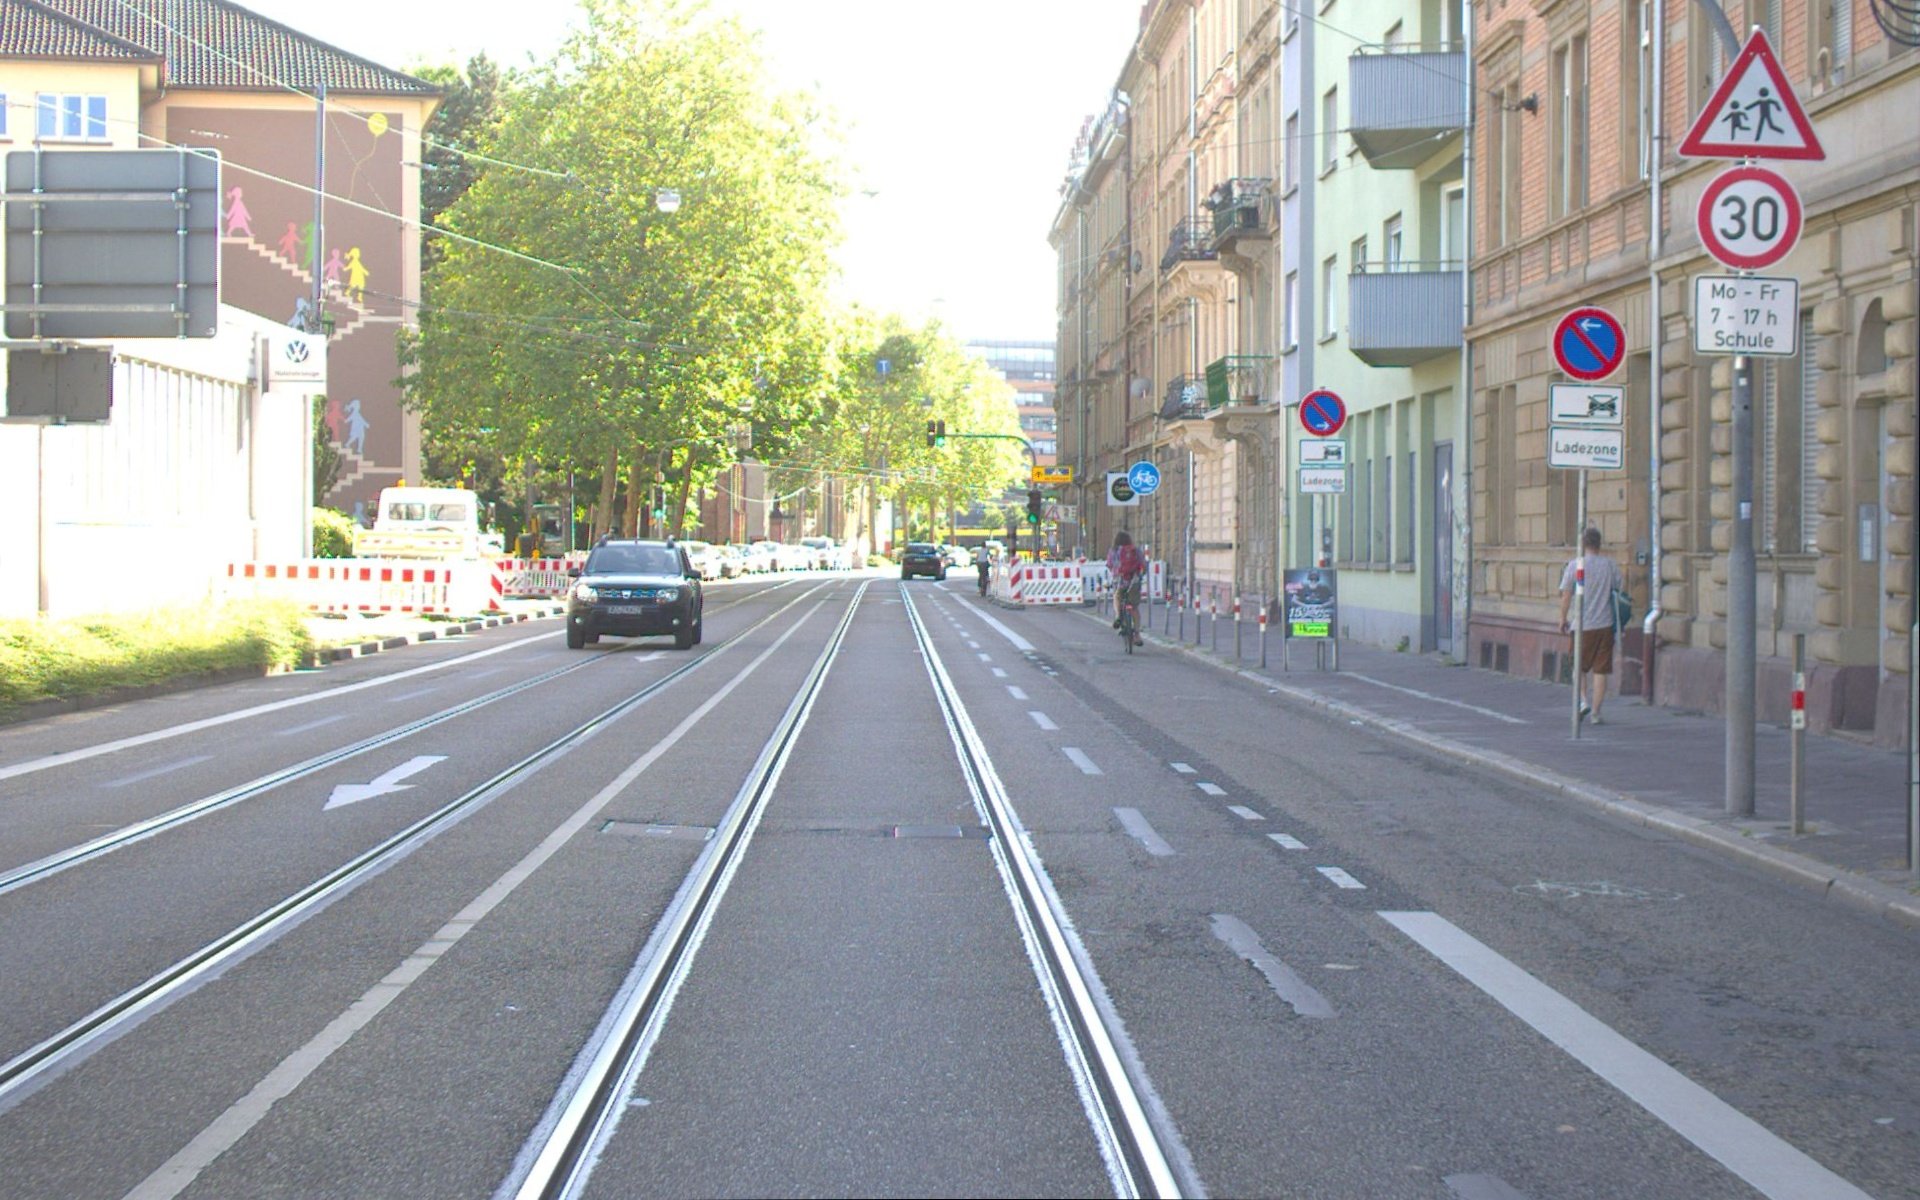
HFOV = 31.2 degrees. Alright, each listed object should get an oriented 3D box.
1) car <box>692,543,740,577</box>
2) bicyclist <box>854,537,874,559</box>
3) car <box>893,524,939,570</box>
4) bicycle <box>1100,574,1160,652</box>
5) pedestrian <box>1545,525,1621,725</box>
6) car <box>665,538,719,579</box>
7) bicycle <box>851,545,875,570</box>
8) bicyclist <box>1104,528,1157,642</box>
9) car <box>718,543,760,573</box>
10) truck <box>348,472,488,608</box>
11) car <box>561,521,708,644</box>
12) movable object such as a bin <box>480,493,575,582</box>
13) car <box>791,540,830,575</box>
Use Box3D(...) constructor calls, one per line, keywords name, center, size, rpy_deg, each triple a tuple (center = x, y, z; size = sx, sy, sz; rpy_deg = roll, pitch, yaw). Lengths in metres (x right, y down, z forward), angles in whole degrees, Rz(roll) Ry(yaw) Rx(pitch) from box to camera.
Box3D(name="car", center=(-11.168, -1.823, 157.724), size=(1.748, 1.504, 4.043), rpy_deg=(2, 0, 2))
Box3D(name="bicyclist", center=(-6.466, -3.478, 231.602), size=(1.078, 1.423, 1.146), rpy_deg=(2, 0, 7))
Box3D(name="car", center=(-2.031, -2.415, 158.467), size=(1.993, 2.007, 4.000), rpy_deg=(2, 0, -1))
Box3D(name="bicycle", center=(2.571, 0.183, 52.261), size=(0.681, 1.110, 2.707), rpy_deg=(2, 1, -2))
Box3D(name="pedestrian", center=(5.362, 0.209, 29.583), size=(0.553, 1.695, 0.474), rpy_deg=(-1, 0, 4))
Box3D(name="car", center=(-11.078, -1.710, 142.190), size=(1.748, 1.602, 4.043), rpy_deg=(2, 0, 2))
Box3D(name="bicycle", center=(-6.534, -2.870, 231.647), size=(1.234, 1.567, 2.896), rpy_deg=(2, 0, 6))
Box3D(name="bicyclist", center=(2.578, -0.225, 52.183), size=(0.667, 1.691, 1.043), rpy_deg=(2, 0, -1))
Box3D(name="car", center=(-11.598, -2.198, 180.668), size=(1.748, 1.490, 4.043), rpy_deg=(2, 0, 2))
Box3D(name="truck", center=(-12.024, -1.313, 76.722), size=(2.537, 2.820, 6.377), rpy_deg=(2, 0, -5))
Box3D(name="car", center=(-4.818, -0.262, 51.382), size=(1.759, 1.691, 4.144), rpy_deg=(2, 0, 0))
Box3D(name="movable object such as a bin", center=(-13.531, -1.957, 107.855), size=(2.495, 2.636, 5.990), rpy_deg=(2, 1, -4))
Box3D(name="car", center=(-9.174, -2.601, 211.498), size=(2.058, 2.045, 4.043), rpy_deg=(2, 0, 2))
